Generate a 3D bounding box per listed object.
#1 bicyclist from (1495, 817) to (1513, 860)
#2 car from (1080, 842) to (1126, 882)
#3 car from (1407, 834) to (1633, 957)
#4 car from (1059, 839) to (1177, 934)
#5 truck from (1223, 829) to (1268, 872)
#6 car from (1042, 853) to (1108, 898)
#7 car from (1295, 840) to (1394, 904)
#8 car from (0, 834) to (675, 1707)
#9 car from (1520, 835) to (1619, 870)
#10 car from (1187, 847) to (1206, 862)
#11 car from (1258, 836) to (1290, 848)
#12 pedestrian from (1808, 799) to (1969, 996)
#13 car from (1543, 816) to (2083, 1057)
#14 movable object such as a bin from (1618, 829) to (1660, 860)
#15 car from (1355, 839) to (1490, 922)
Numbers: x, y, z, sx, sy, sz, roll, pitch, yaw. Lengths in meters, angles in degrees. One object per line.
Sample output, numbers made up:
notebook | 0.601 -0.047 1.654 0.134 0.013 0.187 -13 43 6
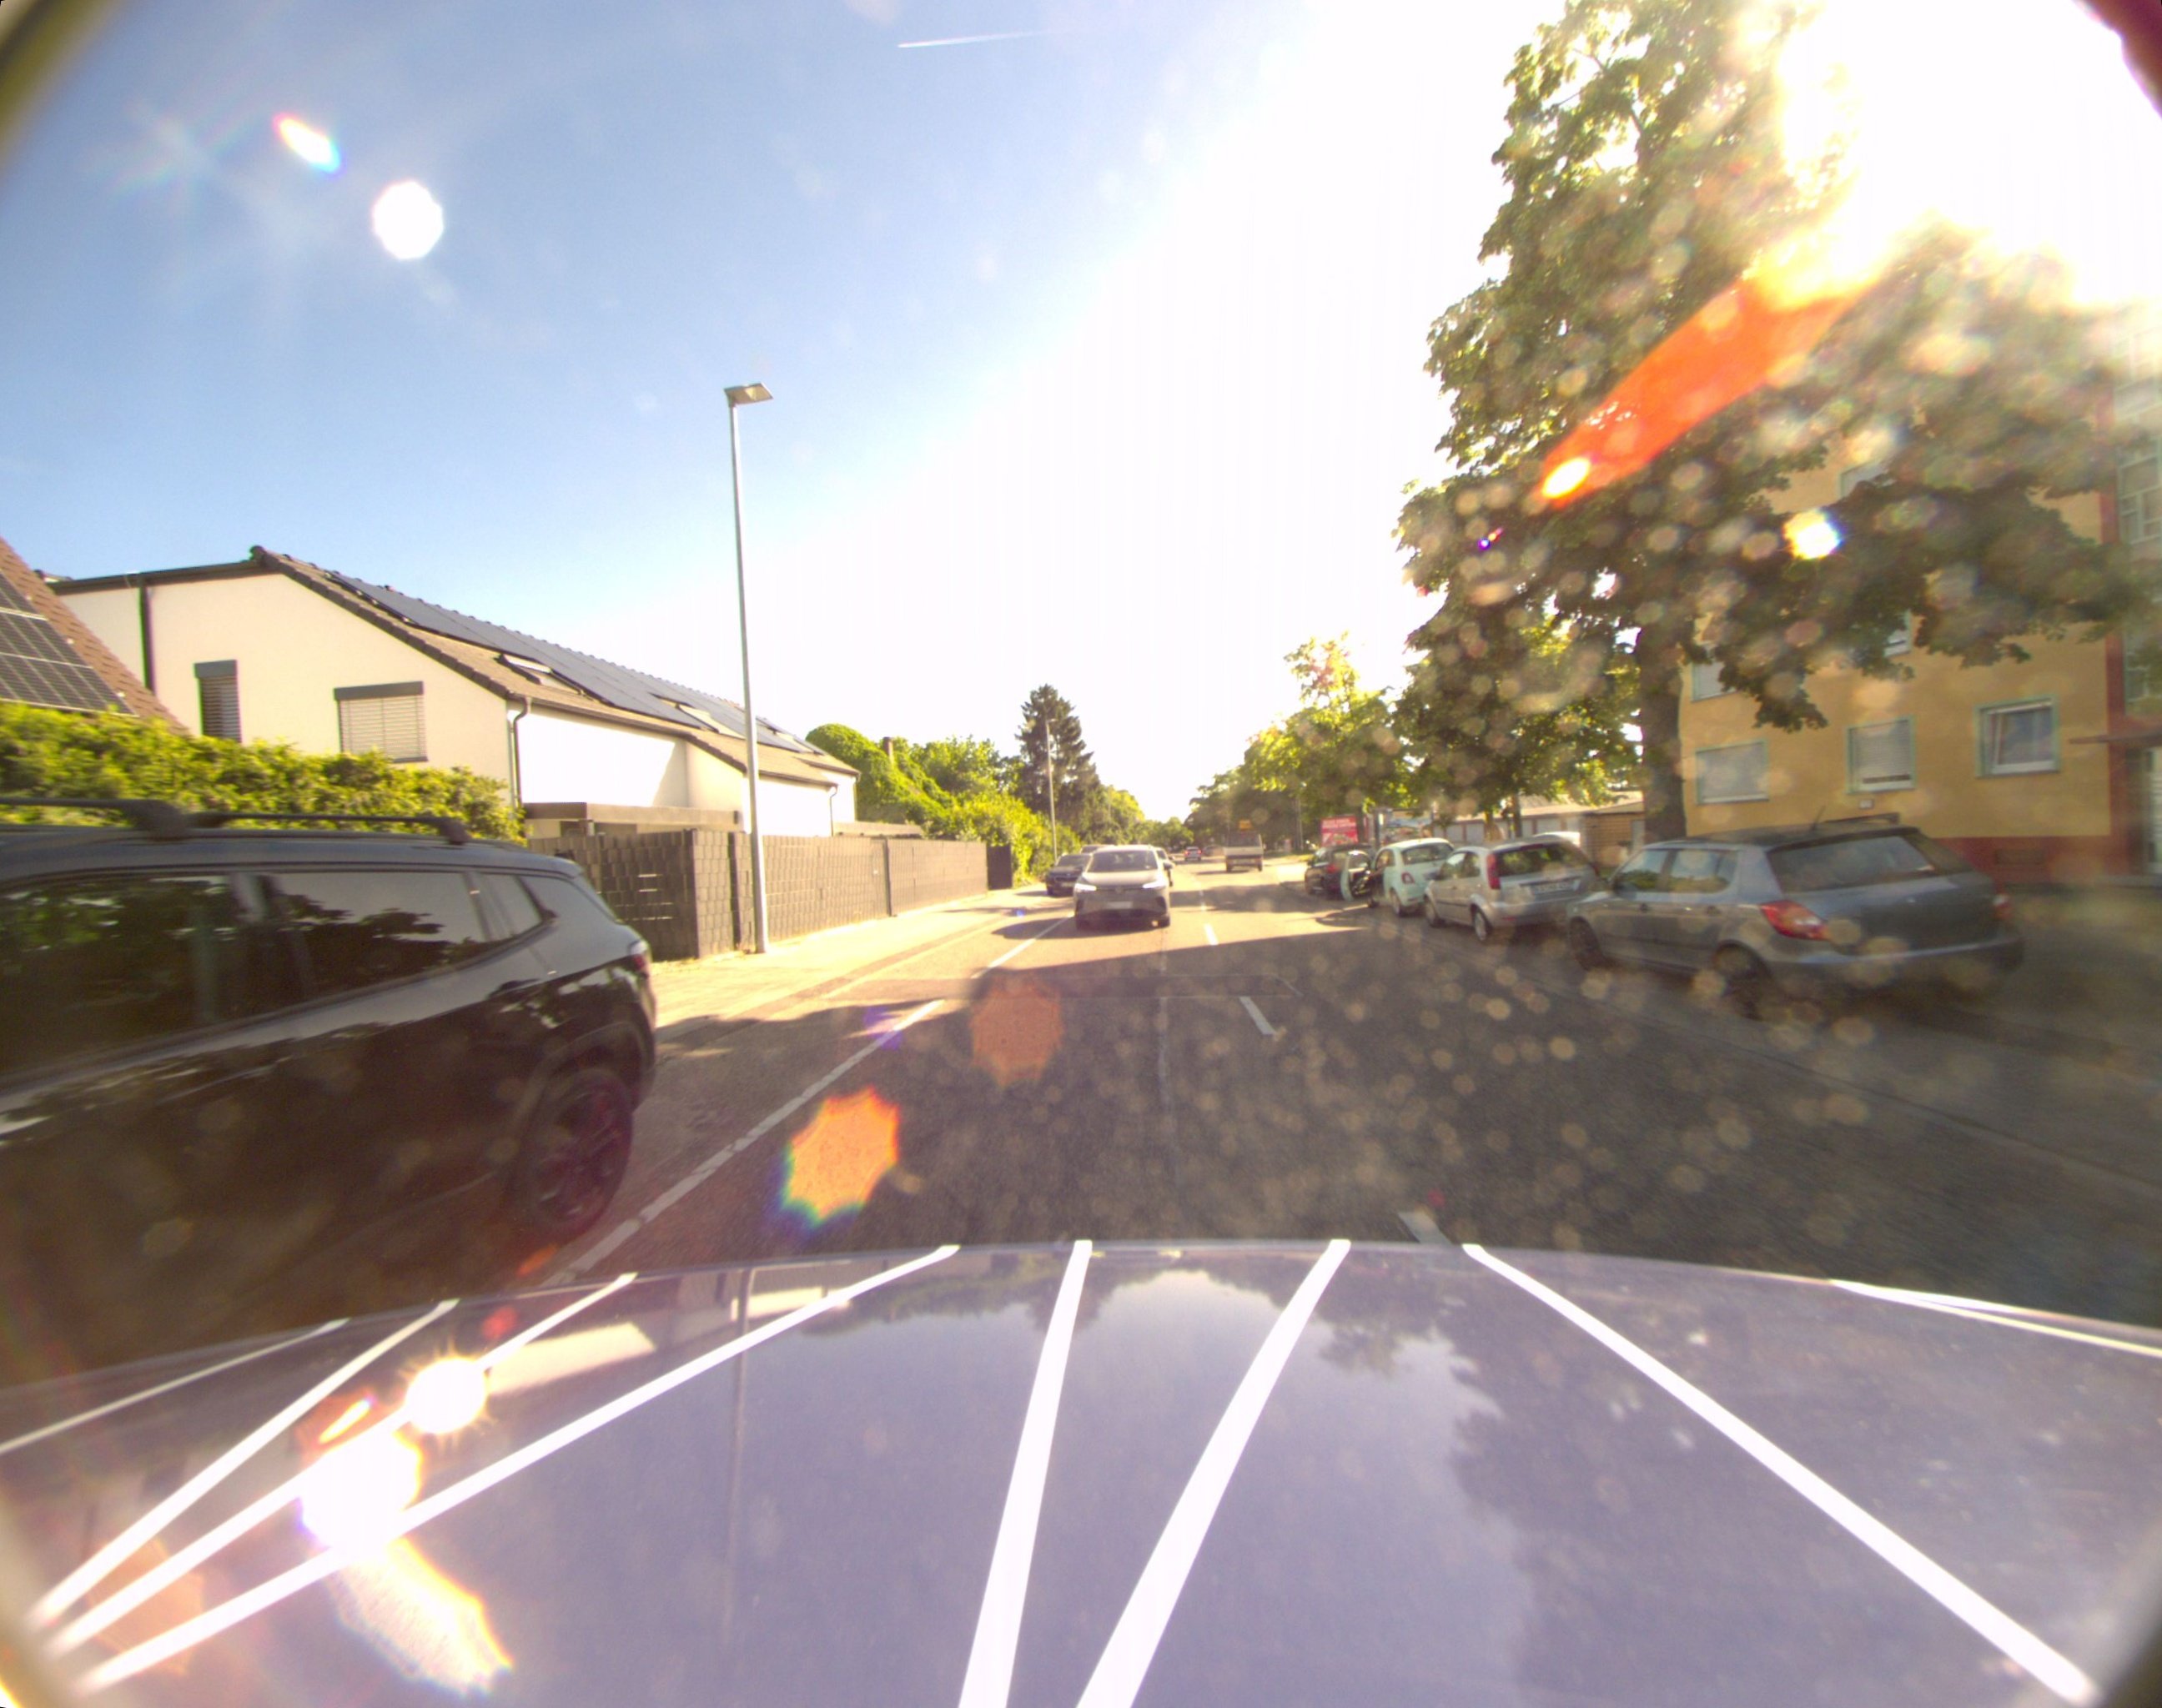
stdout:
bicyclist | 16.984 -0.617 30.535 0.390 1.676 0.381 -4 0 -25
car | 1.218 0.371 40.154 1.840 1.896 4.700 -3 1 8
car | 6.692 0.531 12.124 1.661 1.501 4.002 -5 0 8
car | 0.948 0.563 16.150 1.991 1.631 4.366 -3 1 8
truck | 9.814 -0.234 44.965 2.132 2.321 6.449 -1 1 16
car | -0.112 0.737 28.691 1.769 1.471 4.994 -1 0 8
car | 7.527 0.439 22.083 1.704 1.472 4.052 -4 2 5
car | -2.977 0.848 1.520 1.782 1.714 4.294 -2 1 3
car | 22.221 -0.063 34.755 1.734 1.455 3.879 -2 0 -6
car | 13.015 0.036 85.649 1.840 1.480 4.891 -2 1 6
car | 26.880 -1.708 105.944 3.998 1.559 1.710 -2 1 -2
pedestrian | 7.361 0.370 6.969 0.687 1.709 0.720 -2 3 6
car | 6.183 0.569 7.173 1.571 1.521 3.920 -6 0 8
movable object such as a bin | 17.020 -0.273 23.180 0.698 0.905 0.746 -2 0 -1
car | 7.399 0.483 16.886 1.704 1.515 4.053 -1 2 9
